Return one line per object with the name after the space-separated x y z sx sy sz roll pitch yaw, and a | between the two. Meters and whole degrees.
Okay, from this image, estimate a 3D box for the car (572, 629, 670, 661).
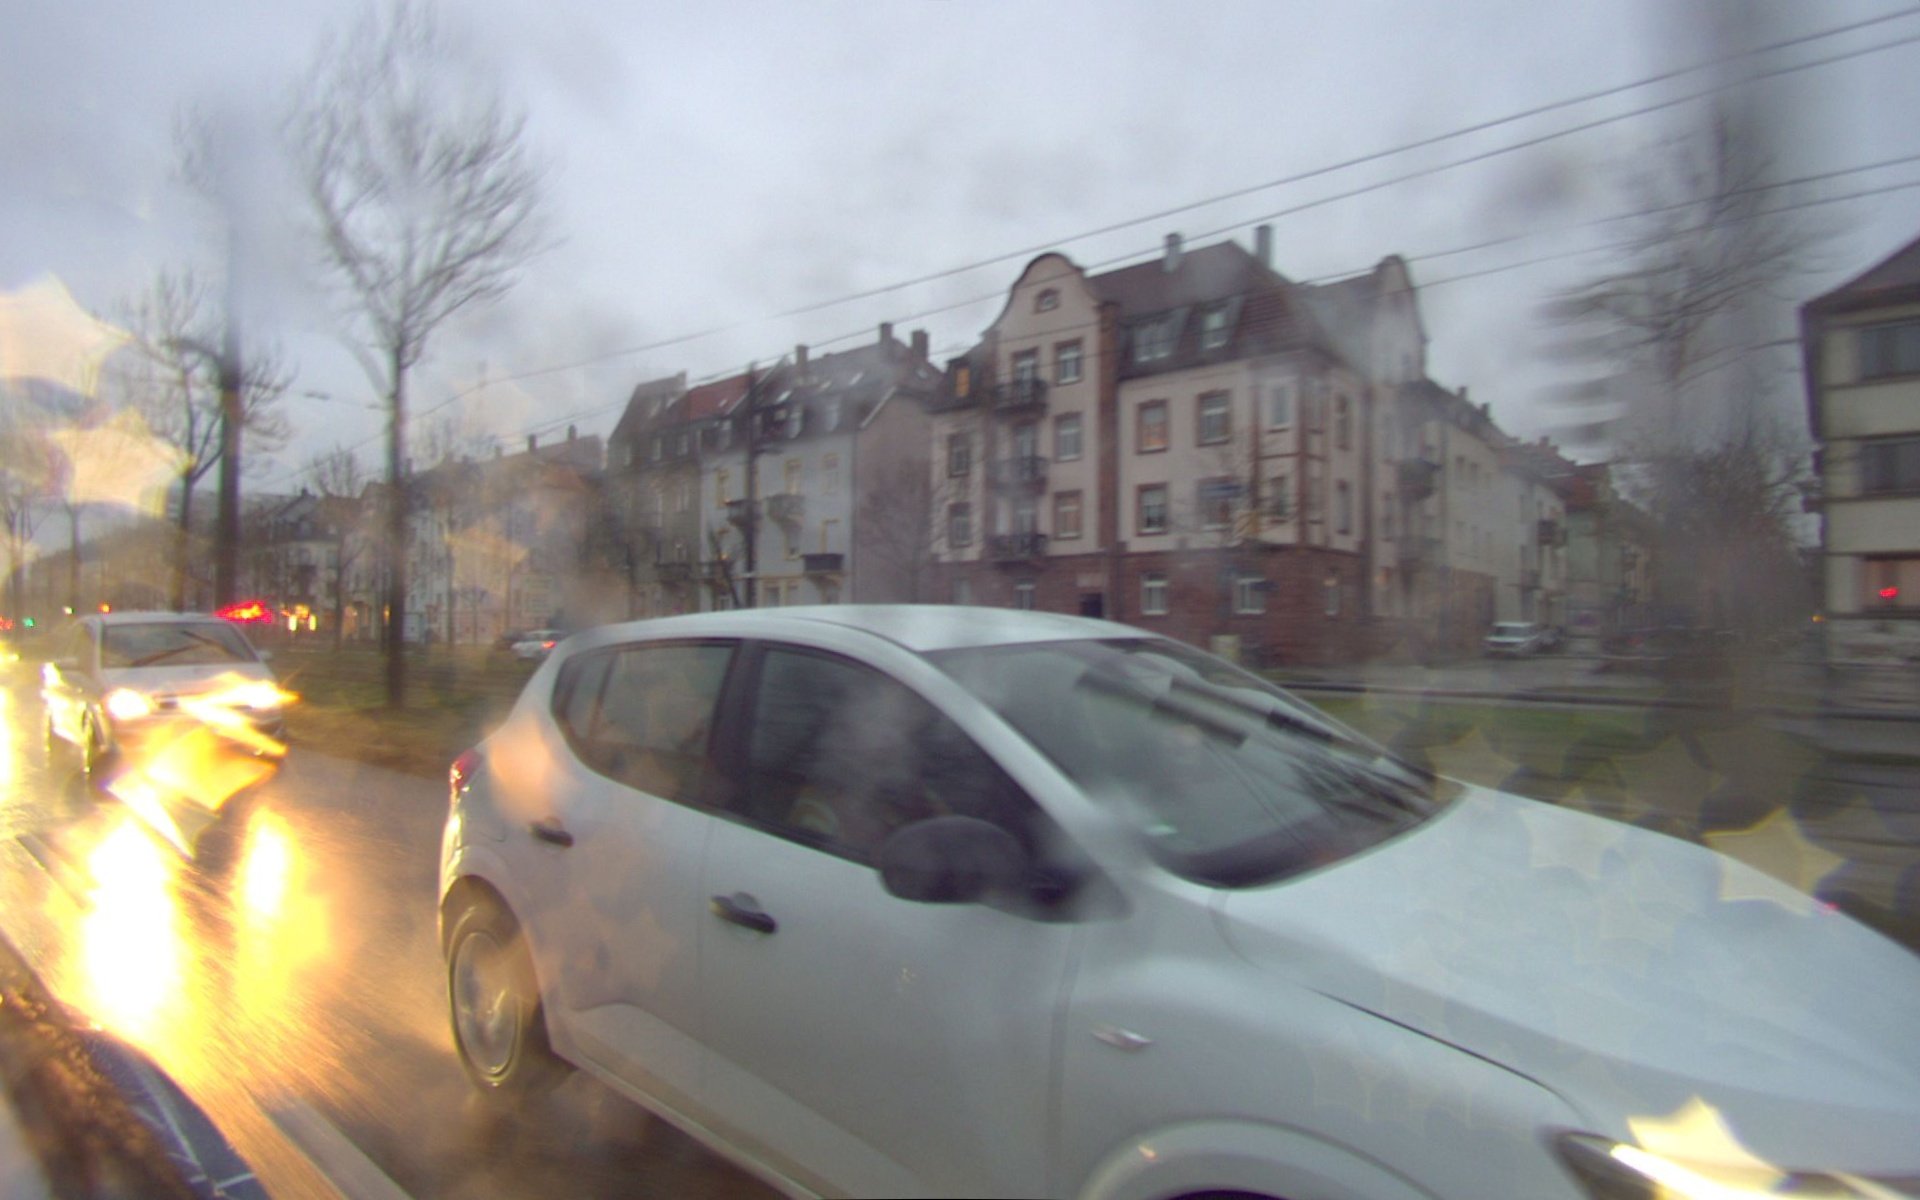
-17.173 2.254 51.460 4.586 1.442 1.698 -1 0 -13 | car

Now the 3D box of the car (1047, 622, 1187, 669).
4.987 1.437 32.396 4.039 1.169 1.716 -3 2 -10 | car

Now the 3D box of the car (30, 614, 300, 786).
-8.806 0.942 11.100 3.905 1.531 1.617 -1 0 41 | car

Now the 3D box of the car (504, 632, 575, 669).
-19.119 2.244 45.966 3.782 1.515 1.529 -1 0 42 | car

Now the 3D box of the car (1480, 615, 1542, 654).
26.716 1.637 49.005 1.803 1.721 3.656 -1 0 42 | car

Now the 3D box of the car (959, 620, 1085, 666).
2.068 1.427 34.185 3.978 1.239 1.352 -3 2 -13 | car

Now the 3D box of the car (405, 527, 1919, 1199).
0.257 0.682 2.606 3.999 1.485 1.671 -1 0 41 | car

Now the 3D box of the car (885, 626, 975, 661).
-1.086 1.538 36.242 2.870 0.997 1.800 -3 2 -14 | car

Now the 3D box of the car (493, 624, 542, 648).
-27.841 2.247 63.638 3.910 1.350 1.449 -1 0 43 | car

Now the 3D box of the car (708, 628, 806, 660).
-9.012 1.954 45.266 4.198 1.267 1.837 -1 0 -8 | car
